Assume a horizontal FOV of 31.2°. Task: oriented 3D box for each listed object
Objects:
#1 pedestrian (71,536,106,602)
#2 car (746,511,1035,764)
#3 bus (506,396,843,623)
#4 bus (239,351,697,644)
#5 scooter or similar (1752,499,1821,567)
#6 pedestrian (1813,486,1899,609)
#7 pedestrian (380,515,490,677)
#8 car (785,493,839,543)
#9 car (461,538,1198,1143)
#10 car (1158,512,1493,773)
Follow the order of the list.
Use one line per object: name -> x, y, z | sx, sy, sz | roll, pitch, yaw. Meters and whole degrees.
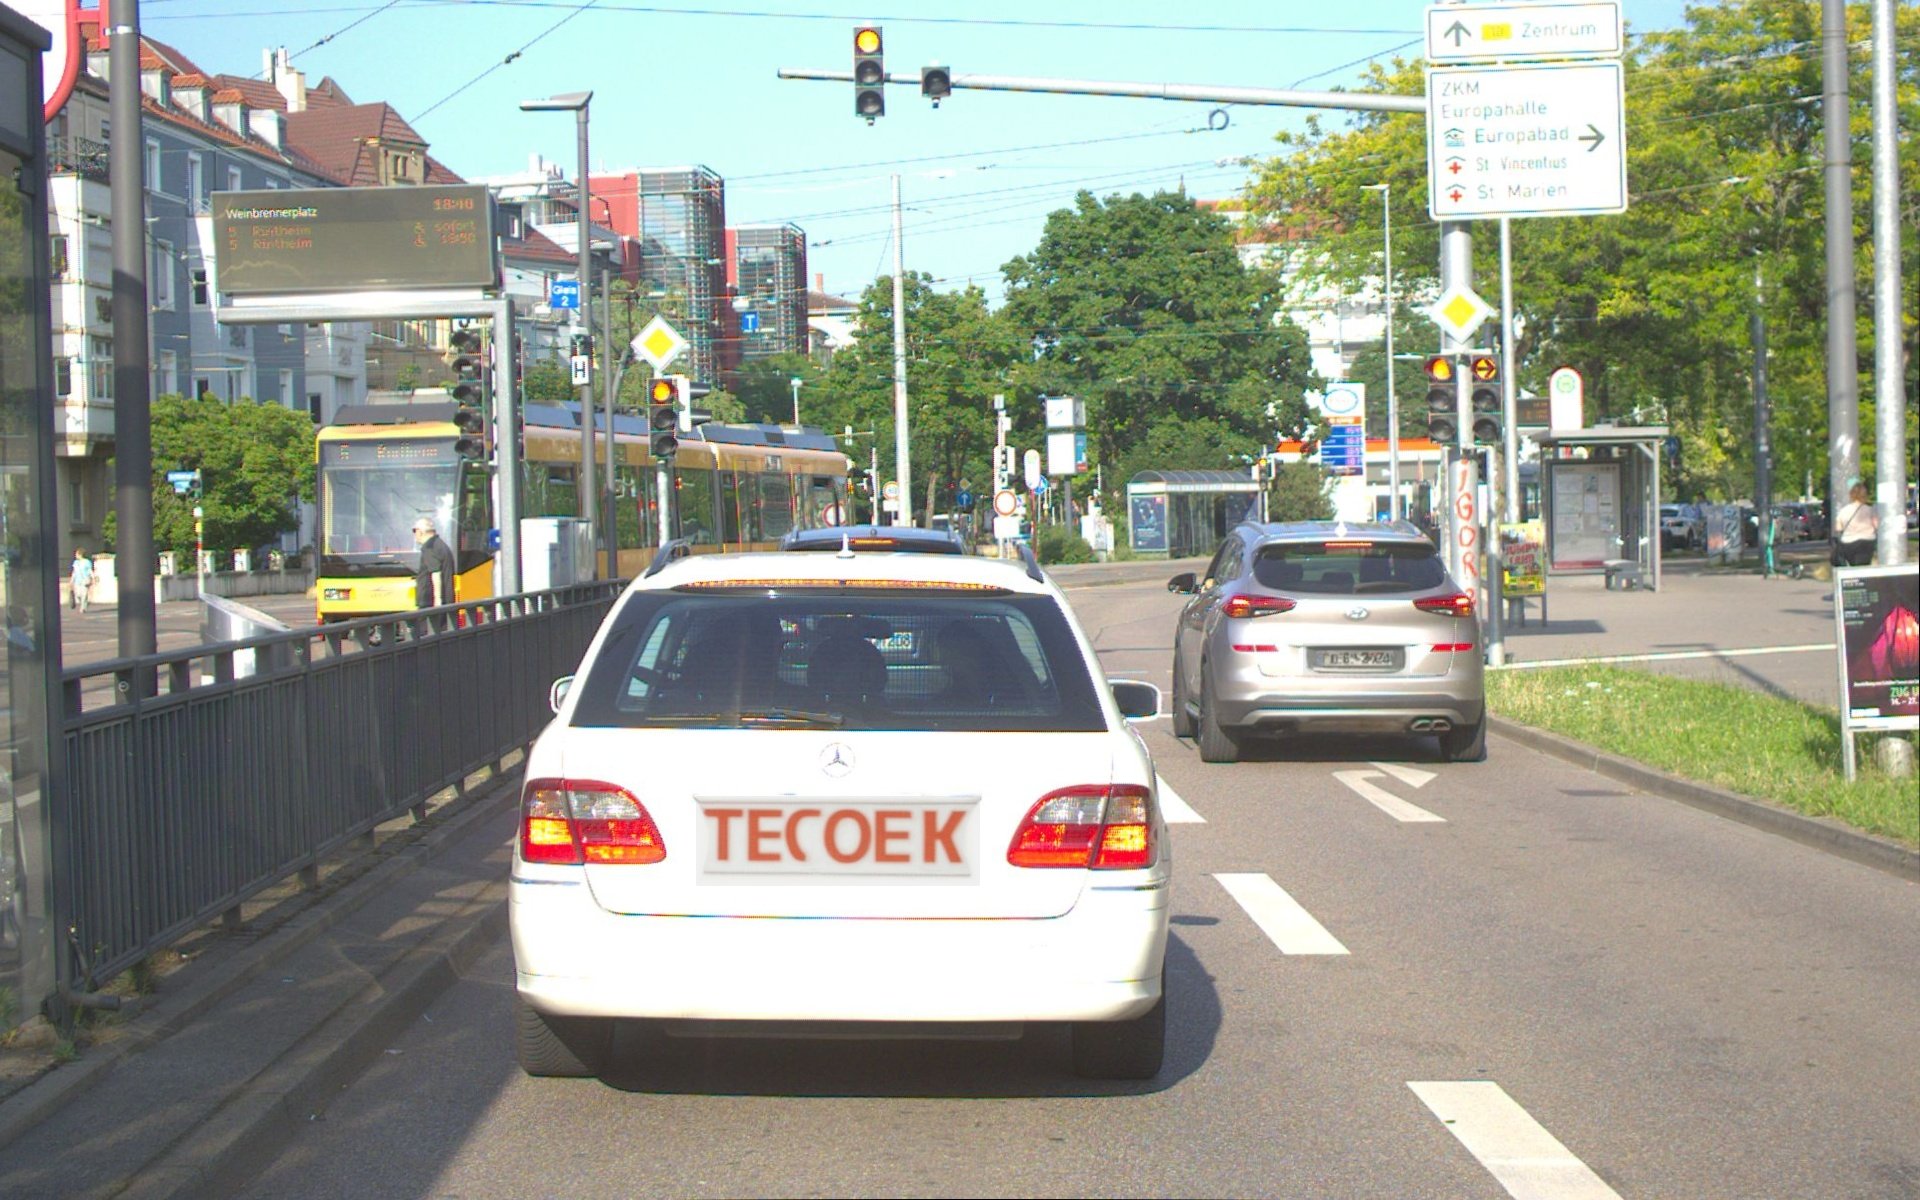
pedestrian -> -20.551, -0.741, 81.081 | 0.629, 1.536, 0.711 | -1, 1, -1
car -> -0.481, 0.211, 24.530 | 1.885, 1.645, 3.648 | 1, 1, -1
bus -> -4.782, -1.510, 61.167 | 3.110, 3.593, 12.586 | 1, 1, 9
bus -> -6.585, -1.333, 48.774 | 3.109, 3.593, 12.371 | 1, 1, 8
scooter or similar -> 13.822, -1.123, 57.507 | 0.419, 1.113, 1.330 | -2, 1, -20
pedestrian -> 12.045, -0.709, 46.214 | 0.752, 1.631, 0.808 | -2, 1, -40
pedestrian -> -5.420, -0.047, 35.503 | 0.792, 1.639, 0.757 | -2, 2, -44
car -> -6.086, -3.371, 141.839 | 2.075, 2.007, 4.163 | 1, 1, 0
car -> -0.340, 0.556, 10.222 | 1.796, 1.465, 3.648 | 0, 1, -1
car -> 2.479, 0.238, 24.131 | 1.885, 1.645, 3.648 | -2, 1, -1
